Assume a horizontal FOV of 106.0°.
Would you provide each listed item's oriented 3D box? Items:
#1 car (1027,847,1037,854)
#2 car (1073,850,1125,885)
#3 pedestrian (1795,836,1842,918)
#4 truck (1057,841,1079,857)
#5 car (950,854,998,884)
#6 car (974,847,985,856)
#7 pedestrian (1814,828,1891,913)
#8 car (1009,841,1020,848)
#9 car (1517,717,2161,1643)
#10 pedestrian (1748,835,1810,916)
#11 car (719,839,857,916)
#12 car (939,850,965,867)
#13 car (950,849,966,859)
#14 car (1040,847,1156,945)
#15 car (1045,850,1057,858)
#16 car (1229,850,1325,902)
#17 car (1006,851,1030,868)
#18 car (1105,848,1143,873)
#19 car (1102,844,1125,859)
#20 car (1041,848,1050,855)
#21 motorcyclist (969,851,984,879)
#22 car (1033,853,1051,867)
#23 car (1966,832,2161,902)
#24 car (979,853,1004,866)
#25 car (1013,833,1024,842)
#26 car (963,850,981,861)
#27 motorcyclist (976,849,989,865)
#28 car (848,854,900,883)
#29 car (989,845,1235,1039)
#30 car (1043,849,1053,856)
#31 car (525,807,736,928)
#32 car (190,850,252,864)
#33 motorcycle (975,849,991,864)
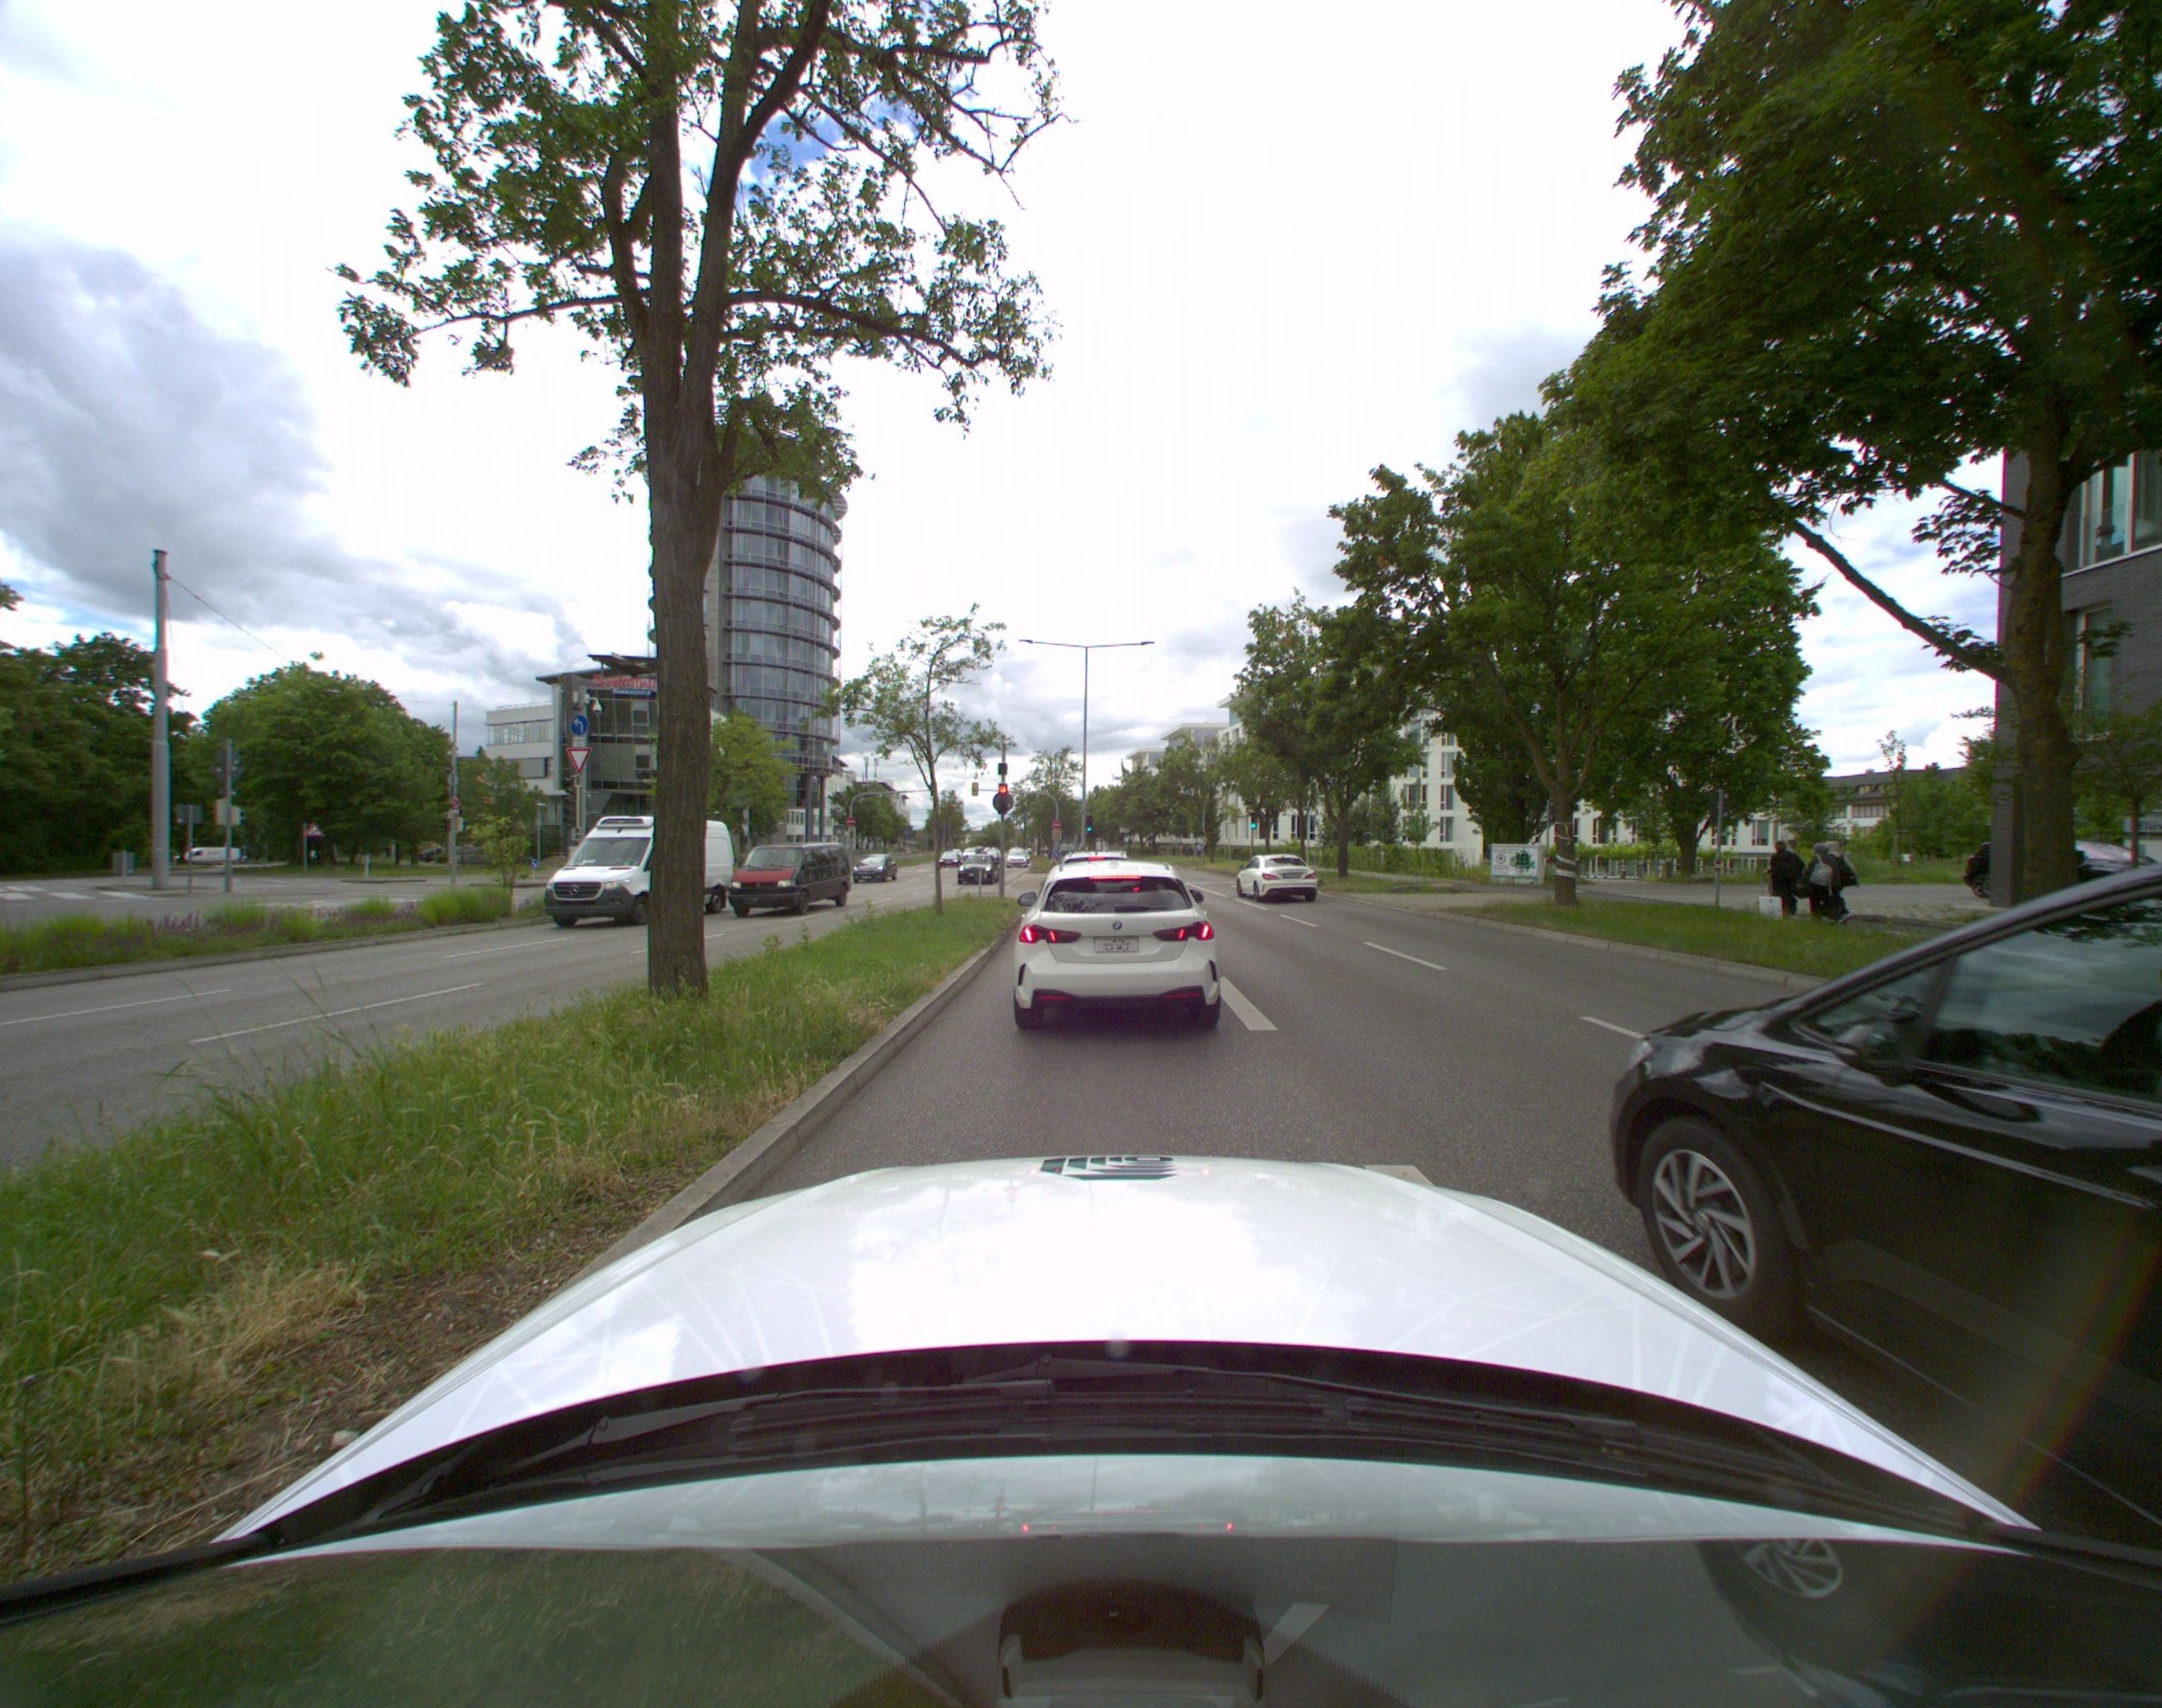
[{"bbox_3d":[-10.936,-0.712,181.707,1.988,1.490,3.999,1,0,-1],"label":"car"},{"bbox_3d":[0.891,0.597,37.291,1.983,1.508,4.008,0,0,7],"label":"car"},{"bbox_3d":[14.271,0.440,15.767,0.407,1.552,0.563,2,-1,7],"label":"pedestrian"},{"bbox_3d":[-2.253,-0.786,134.535,2.858,2.519,6.269,0,0,-8],"label":"truck"},{"bbox_3d":[-5.206,0.687,40.128,1.747,1.371,3.781,-1,0,2],"label":"car"},{"bbox_3d":[-22.238,-0.482,177.989,1.988,2.011,4.322,0,0,-1],"label":"car"},{"bbox_3d":[15.080,0.321,15.946,0.586,1.551,0.745,9,1,7],"label":"pedestrian"},{"bbox_3d":[-15.649,-2.206,191.989,1.986,1.618,4.002,2,0,2],"label":"car"},{"bbox_3d":[2.884,0.562,1.440,1.960,1.640,4.313,-1,0,1],"label":"car"},{"bbox_3d":[13.611,0.411,15.905,0.721,1.552,0.588,0,0,7],"label":"pedestrian"},{"bbox_3d":[-8.064,0.589,23.003,1.928,1.918,4.975,-1,0,2],"label":"car"},{"bbox_3d":[-11.720,0.402,74.207,1.701,1.419,3.804,-1,0,2],"label":"car"},{"bbox_3d":[-18.729,-0.036,123.722,1.701,1.419,3.804,-1,0,2],"label":"car"},{"bbox_3d":[0.385,0.722,15.962,1.985,1.672,4.003,0,0,3],"label":"car"},{"bbox_3d":[-5.588,-0.053,152.386,1.991,1.508,3.993,0,0,-5],"label":"car"},{"bbox_3d":[6.040,0.635,25.633,1.789,1.472,4.696,0,0,-2],"label":"car"},{"bbox_3d":[-5.534,0.466,72.151,1.701,1.497,3.804,-1,0,2],"label":"car"},{"bbox_3d":[2.861,0.415,55.357,2.048,1.486,4.968,-2,0,-3],"label":"car"},{"bbox_3d":[3.549,-0.319,88.616,1.991,1.596,3.992,0,0,-5],"label":"car"},{"bbox_3d":[-7.915,-0.619,181.550,1.988,1.490,3.999,1,0,-1],"label":"car"},{"bbox_3d":[-6.977,0.723,54.375,0.845,1.837,1.260,0,0,2],"label":"motorcyclist"},{"bbox_3d":[-4.083,0.608,85.945,1.661,1.405,4.002,0,0,2],"label":"car"},{"bbox_3d":[25.084,0.286,20.248,1.817,1.552,4.183,0,0,4],"label":"car"},{"bbox_3d":[-9.164,0.546,83.202,1.986,1.354,4.002,0,0,2],"label":"car"},{"bbox_3d":[-13.462,-3.531,174.835,1.988,2.011,4.322,2,0,-1],"label":"car"},{"bbox_3d":[-14.343,0.172,107.600,1.701,1.419,3.804,-1,0,2],"label":"car"},{"bbox_3d":[-8.791,0.239,73.043,0.906,1.392,1.674,0,0,2],"label":"motorcyclist"},{"bbox_3d":[-11.080,0.747,43.837,1.701,1.419,4.020,-1,0,1],"label":"car"},{"bbox_3d":[0.380,0.667,8.141,1.855,1.449,4.004,0,0,4],"label":"car"},{"bbox_3d":[-7.248,-0.345,179.046,1.992,1.508,3.991,0,0,-7],"label":"car"},{"bbox_3d":[-11.114,0.279,20.758,1.986,2.634,5.876,-1,0,1],"label":"car"},{"bbox_3d":[-127.463,0.397,120.762,1.977,2.013,6.012,0,0,19],"label":"car"},{"bbox_3d":[-8.778,0.214,73.193,0.886,1.398,4.002,0,0,2],"label":"motorcycle"}]
